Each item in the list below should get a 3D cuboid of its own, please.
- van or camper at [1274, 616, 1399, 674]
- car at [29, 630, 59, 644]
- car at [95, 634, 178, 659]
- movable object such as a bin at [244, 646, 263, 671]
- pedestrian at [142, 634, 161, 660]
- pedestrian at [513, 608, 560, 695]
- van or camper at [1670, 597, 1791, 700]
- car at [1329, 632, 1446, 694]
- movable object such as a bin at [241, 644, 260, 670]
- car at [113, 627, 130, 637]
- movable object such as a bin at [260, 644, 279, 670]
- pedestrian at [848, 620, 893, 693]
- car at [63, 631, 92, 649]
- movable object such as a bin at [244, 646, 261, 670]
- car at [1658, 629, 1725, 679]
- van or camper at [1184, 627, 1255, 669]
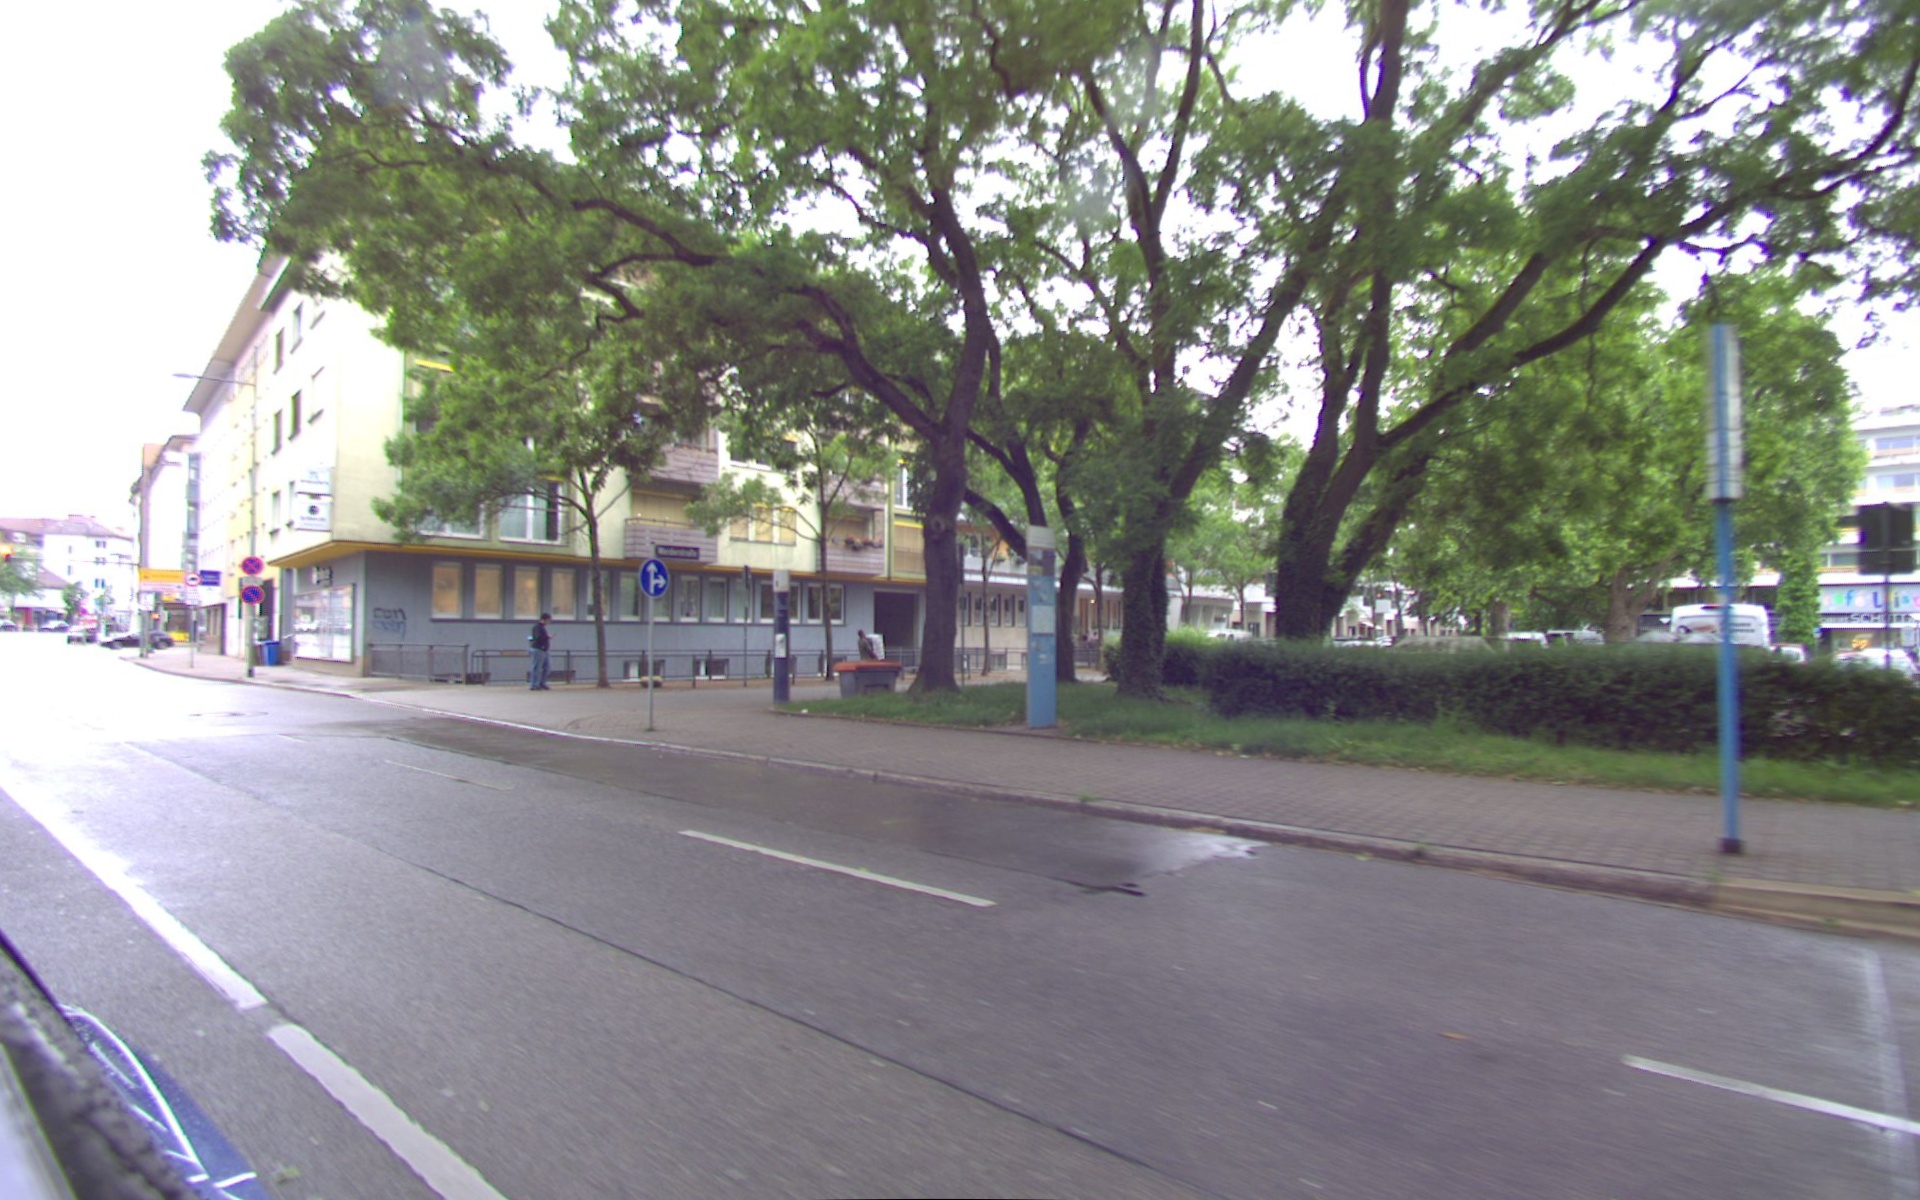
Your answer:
[{"bbox_3d":[17.483,2.050,46.591,2.561,2.420,8.535,-2,-3,41],"label":"van or camper"},{"bbox_3d":[-125.811,5.104,139.038,1.722,1.778,4.066,2,-3,-22],"label":"car"},{"bbox_3d":[-59.833,3.347,73.555,1.758,1.580,4.499,-2,-1,44],"label":"car"},{"bbox_3d":[-27.731,2.291,39.736,0.521,0.935,0.426,-3,1,-42],"label":"movable object such as a bin"},{"bbox_3d":[-49.930,2.903,62.479,0.773,1.600,0.675,-1,-1,-28],"label":"pedestrian"},{"bbox_3d":[-10.071,1.210,24.085,0.772,2.029,0.752,0,-2,3],"label":"pedestrian"},{"bbox_3d":[20.130,1.245,26.370,2.099,2.450,4.280,-2,-3,42],"label":"van or camper"},{"bbox_3d":[12.299,1.745,28.990,1.863,1.638,3.995,-2,-3,42],"label":"car"},{"bbox_3d":[-28.489,2.273,40.638,0.510,1.008,0.524,-3,1,-42],"label":"movable object such as a bin"},{"bbox_3d":[-123.647,4.728,149.224,1.567,1.539,3.496,2,-3,-36],"label":"car"},{"bbox_3d":[-26.752,2.194,39.198,0.522,0.968,0.435,-3,1,-42],"label":"movable object such as a bin"},{"bbox_3d":[-2.424,1.525,27.547,0.906,1.939,0.820,2,-3,-43],"label":"pedestrian"},{"bbox_3d":[-78.939,3.559,90.582,1.807,1.634,4.007,2,-3,-39],"label":"car"},{"bbox_3d":[-28.135,2.306,40.224,0.458,0.935,0.429,-3,1,-42],"label":"movable object such as a bin"},{"bbox_3d":[28.534,2.081,39.449,1.802,1.838,3.946,-2,-3,40],"label":"car"},{"bbox_3d":[13.604,2.511,52.852,1.825,2.029,4.576,1,-2,38],"label":"van or camper"}]
